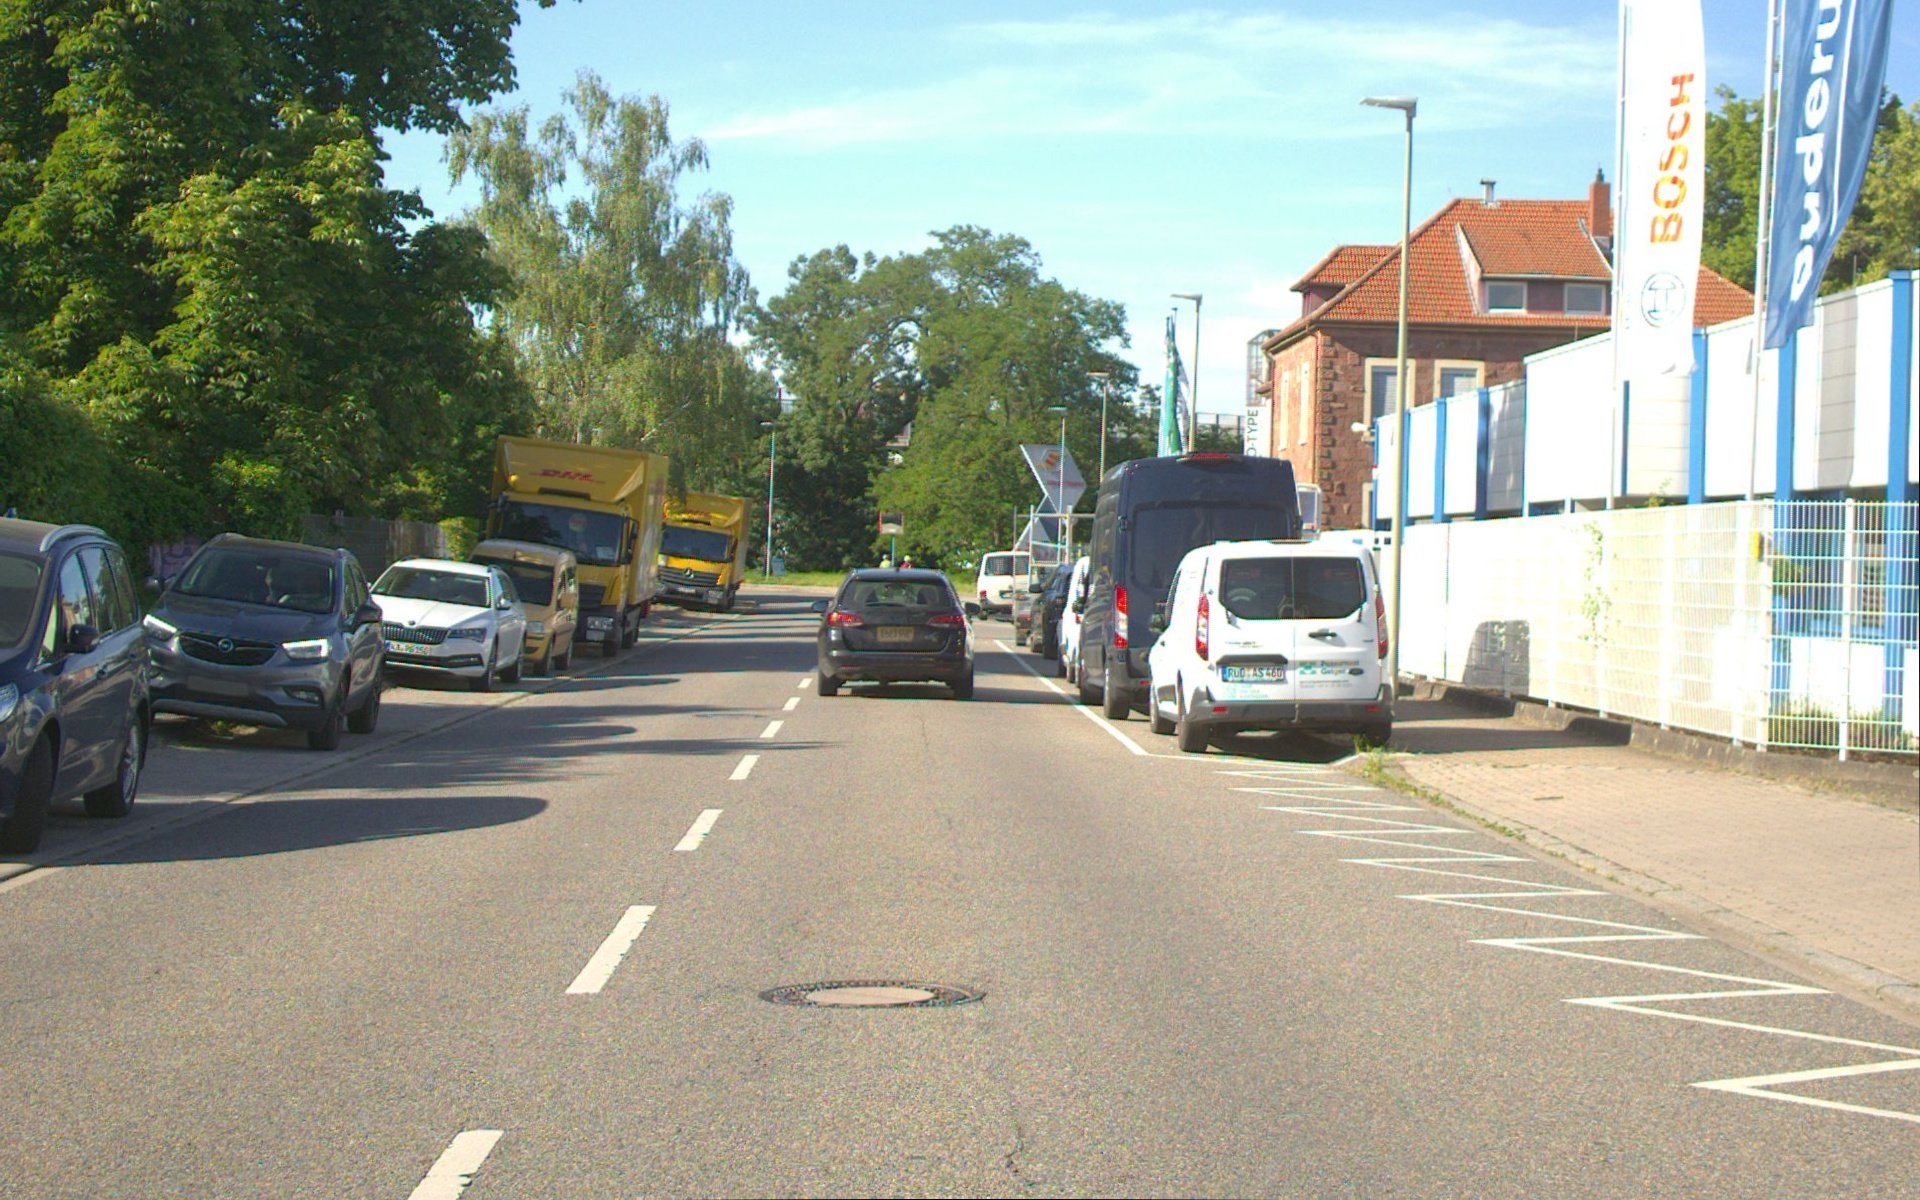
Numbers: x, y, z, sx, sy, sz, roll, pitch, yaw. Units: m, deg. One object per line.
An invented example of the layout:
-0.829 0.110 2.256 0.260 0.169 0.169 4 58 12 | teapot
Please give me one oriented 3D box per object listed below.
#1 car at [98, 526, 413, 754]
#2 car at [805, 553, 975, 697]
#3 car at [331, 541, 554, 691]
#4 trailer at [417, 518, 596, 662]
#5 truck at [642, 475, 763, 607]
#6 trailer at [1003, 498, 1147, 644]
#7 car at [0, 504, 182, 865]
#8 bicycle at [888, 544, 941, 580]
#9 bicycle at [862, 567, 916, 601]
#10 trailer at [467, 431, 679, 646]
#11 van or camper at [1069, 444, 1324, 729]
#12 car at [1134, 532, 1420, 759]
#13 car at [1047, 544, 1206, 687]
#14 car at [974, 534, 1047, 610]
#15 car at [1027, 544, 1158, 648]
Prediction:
-6.023 0.275 29.882 1.908 1.657 4.464 6 1 -3 | car
-0.771 0.249 39.801 1.847 1.525 4.000 1 1 0 | car
-6.434 0.152 43.253 1.908 1.587 5.025 6 1 0 | car
-6.431 -0.165 49.177 1.993 1.935 4.415 1 1 -1 | trailer
-7.687 -1.853 103.666 2.631 3.493 8.657 7 2 -1 | truck
2.185 -0.577 67.003 2.460 2.663 5.702 1 1 -1 | trailer
-5.695 0.324 19.200 1.791 1.725 4.803 4 1 -4 | car
-1.732 -1.450 130.059 0.803 1.263 2.258 3 0 -35 | bicycle
-2.776 -0.639 133.793 0.804 1.217 2.258 3 0 -40 | bicycle
-6.637 -1.053 60.075 2.991 3.431 8.162 1 1 -2 | trailer
2.470 -0.164 37.555 2.141 2.750 6.161 3 0 -1 | van or camper
2.767 0.355 31.121 1.885 1.791 5.104 3 0 -2 | car
2.298 0.189 48.795 1.855 1.824 5.168 3 0 -1 | car
1.405 -0.793 97.627 1.874 2.007 5.160 3 0 0 | car
2.287 -0.081 60.531 1.994 1.661 4.731 3 0 -1 | car
